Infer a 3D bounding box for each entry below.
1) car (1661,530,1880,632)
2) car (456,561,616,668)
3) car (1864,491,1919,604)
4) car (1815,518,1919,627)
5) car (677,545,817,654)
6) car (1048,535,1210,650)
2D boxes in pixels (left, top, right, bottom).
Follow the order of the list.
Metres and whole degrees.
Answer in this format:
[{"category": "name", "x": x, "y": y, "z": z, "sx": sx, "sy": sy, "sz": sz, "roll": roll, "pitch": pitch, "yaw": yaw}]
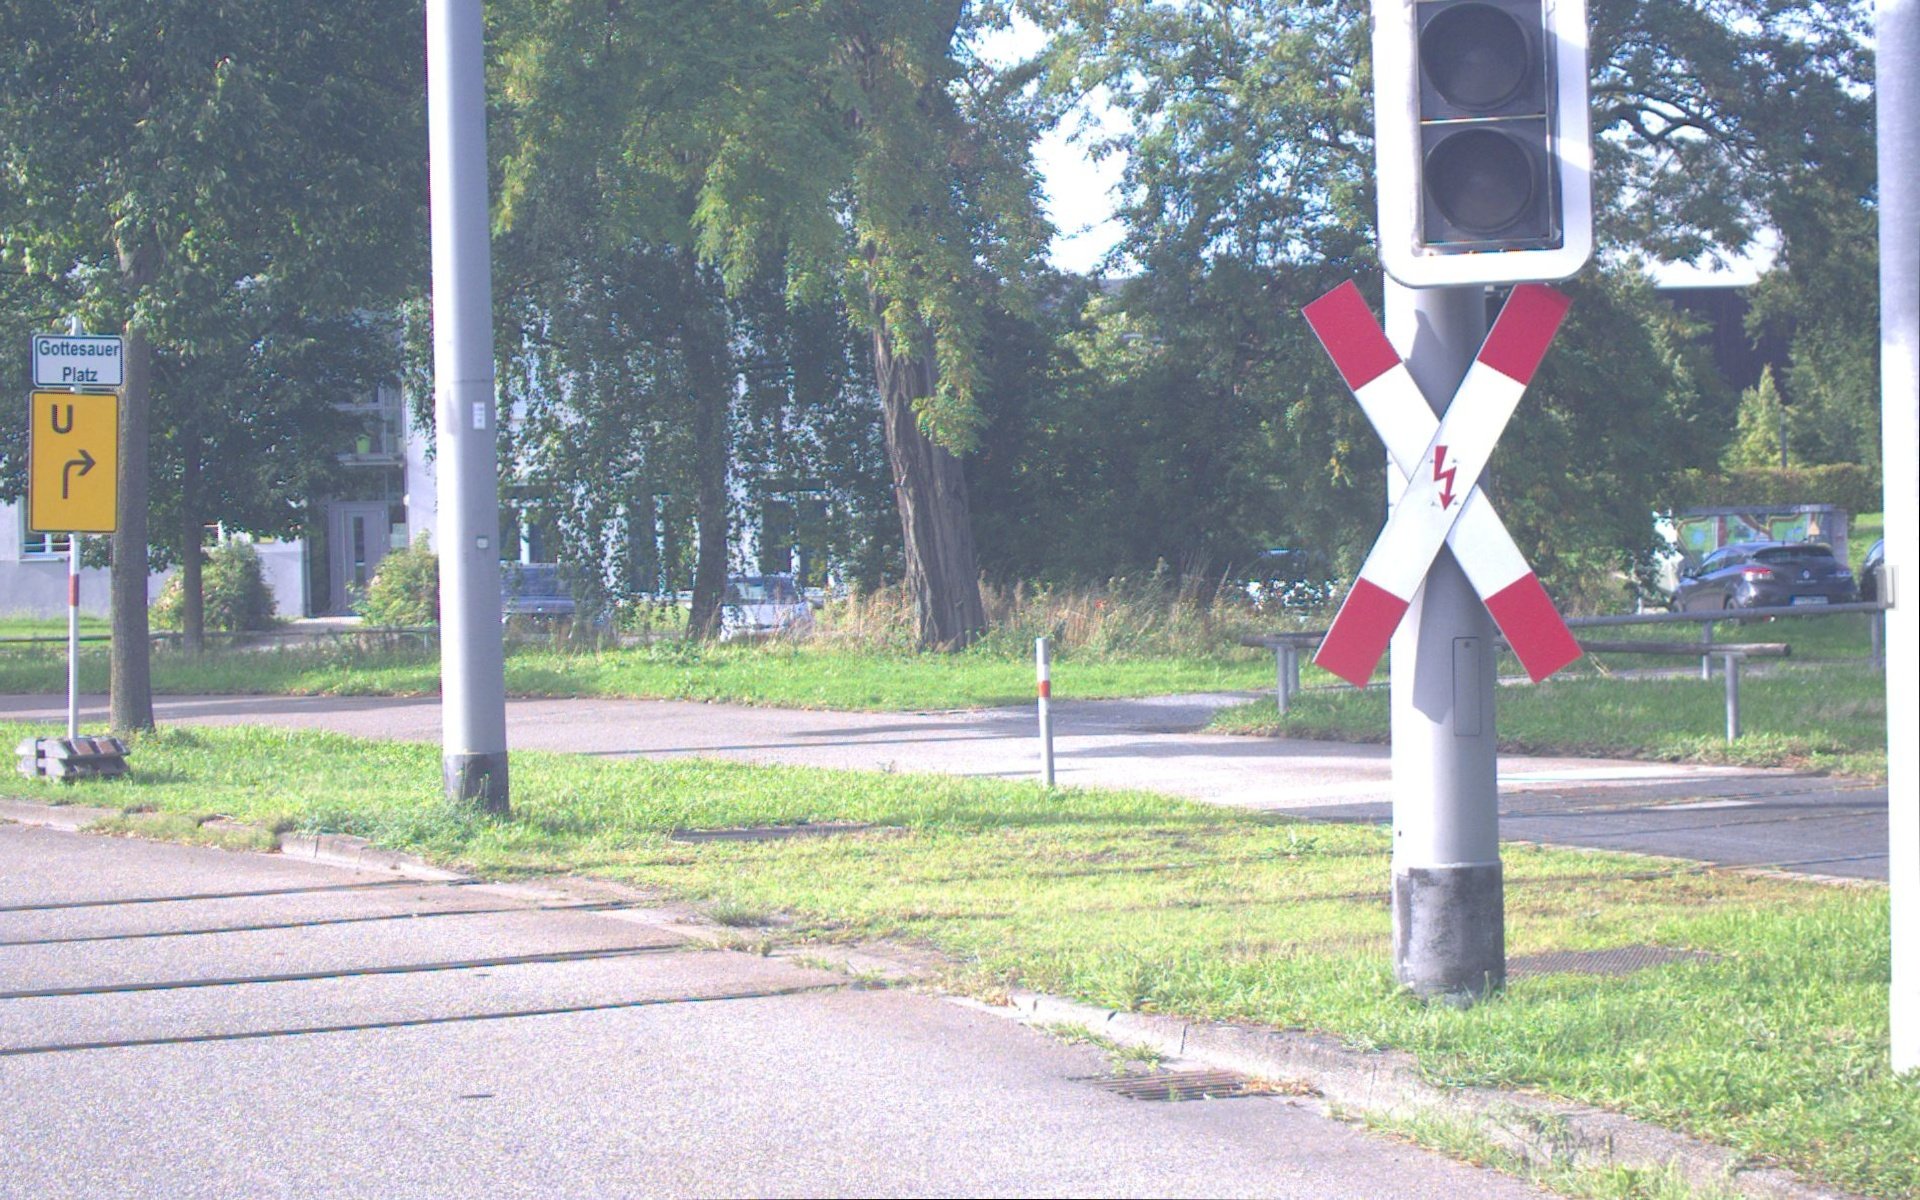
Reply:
[{"category": "car", "x": 11.696, "y": -0.298, "z": 49.934, "sx": 1.855, "sy": 1.354, "sz": 4.734, "roll": -2, "pitch": 1, "yaw": -2}, {"category": "car", "x": -5.968, "y": 0.171, "z": 48.859, "sx": 1.855, "sy": 1.376, "sz": 4.516, "roll": -2, "pitch": 1, "yaw": -2}, {"category": "car", "x": 18.004, "y": -0.927, "z": 62.443, "sx": 1.871, "sy": 2.007, "sz": 4.810, "roll": 0, "pitch": 0, "yaw": 0}, {"category": "car", "x": 14.098, "y": -0.439, "z": 50.155, "sx": 1.855, "sy": 1.510, "sz": 4.748, "roll": -2, "pitch": 1, "yaw": -2}, {"category": "car", "x": -3.003, "y": -0.045, "z": 49.258, "sx": 1.855, "sy": 1.435, "sz": 4.734, "roll": -2, "pitch": 1, "yaw": -2}, {"category": "car", "x": 2.368, "y": -0.136, "z": 49.257, "sx": 1.855, "sy": 1.510, "sz": 4.734, "roll": -2, "pitch": 1, "yaw": -2}]
